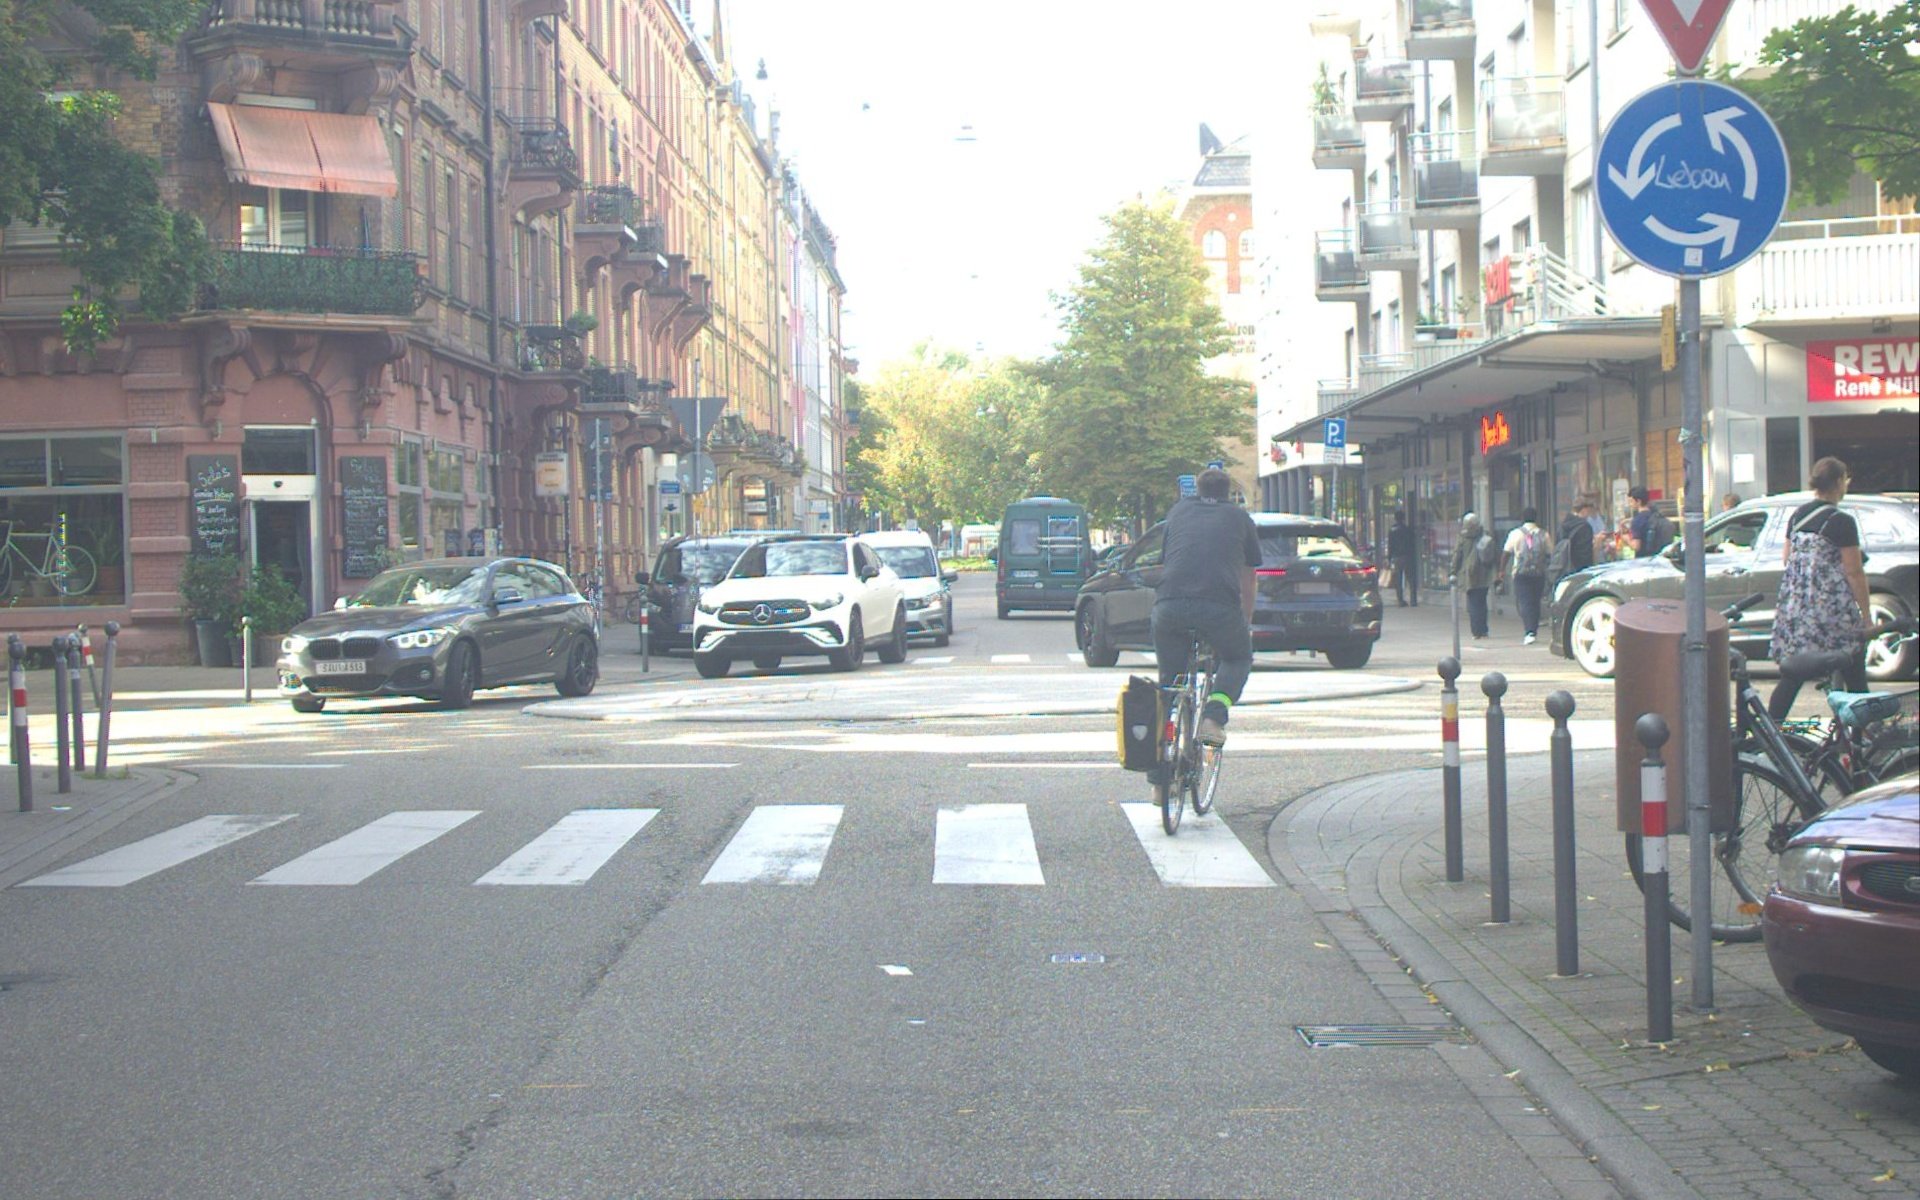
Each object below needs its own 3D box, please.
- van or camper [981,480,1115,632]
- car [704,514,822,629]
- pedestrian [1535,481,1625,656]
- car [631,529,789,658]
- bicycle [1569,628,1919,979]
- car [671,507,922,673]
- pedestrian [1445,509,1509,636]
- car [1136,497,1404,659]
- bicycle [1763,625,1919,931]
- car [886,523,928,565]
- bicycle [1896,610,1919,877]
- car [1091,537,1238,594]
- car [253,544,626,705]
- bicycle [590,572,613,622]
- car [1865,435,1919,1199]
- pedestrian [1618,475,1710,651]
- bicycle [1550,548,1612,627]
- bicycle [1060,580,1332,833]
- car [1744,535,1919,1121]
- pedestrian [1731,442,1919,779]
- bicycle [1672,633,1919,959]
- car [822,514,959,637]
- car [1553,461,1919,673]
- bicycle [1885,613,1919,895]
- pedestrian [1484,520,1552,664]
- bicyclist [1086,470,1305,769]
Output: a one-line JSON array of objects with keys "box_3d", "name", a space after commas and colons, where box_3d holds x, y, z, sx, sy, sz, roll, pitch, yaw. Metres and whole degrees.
[{"box_3d": [1.809, -0.936, 72.251, 2.531, 3.027, 4.459, -1, 1, -1], "name": "van or camper"}, {"box_3d": [-3.626, -0.548, 63.813, 1.993, 2.007, 4.000, -2, 1, -1], "name": "car"}, {"box_3d": [6.642, -0.339, 36.870, 0.869, 1.845, 0.612, -1, 1, 6], "name": "pedestrian"}, {"box_3d": [-3.692, -0.138, 51.377, 1.783, 1.718, 4.444, 0, 3, 3], "name": "car"}, {"box_3d": [2.829, 0.634, 11.232, 0.548, 1.036, 1.857, -5, 2, -28], "name": "bicycle"}, {"box_3d": [-1.916, -0.174, 41.903, 1.943, 1.716, 4.848, -2, 2, 10], "name": "car"}, {"box_3d": [6.707, -0.361, 44.584, 0.745, 1.623, 0.812, -1, 1, 12], "name": "pedestrian"}, {"box_3d": [3.294, -0.257, 37.332, 1.993, 1.612, 4.001, -2, 1, -8], "name": "car"}, {"box_3d": [3.570, 0.611, 11.722, 0.347, 1.036, 2.018, -5, 2, -26], "name": "bicycle"}, {"box_3d": [-2.628, -2.814, 171.714, 1.993, 2.007, 4.000, -1, 1, 0], "name": "car"}, {"box_3d": [4.321, 0.534, 12.684, 0.388, 1.036, 1.921, -5, 2, -28], "name": "bicycle"}, {"box_3d": [5.798, -0.985, 97.724, 3.987, 1.481, 2.000, -2, 1, -1], "name": "car"}, {"box_3d": [-4.895, 0.210, 32.942, 1.751, 1.431, 4.207, 0, 0, 20], "name": "car"}, {"box_3d": [-6.962, -0.071, 66.805, 0.360, 0.944, 1.716, -1, 1, -4], "name": "bicycle"}, {"box_3d": [4.092, 0.373, 6.567, 4.340, 1.639, 1.822, -4, 2, -25], "name": "car"}, {"box_3d": [7.523, -0.392, 36.738, 0.869, 1.845, 0.612, -1, 1, 6], "name": "pedestrian"}, {"box_3d": [8.124, -0.173, 45.008, 0.362, 1.013, 1.431, -1, 1, -7], "name": "bicycle"}, {"box_3d": [1.246, 0.497, 17.553, 0.666, 1.174, 2.494, 0, 1, 21], "name": "bicycle"}, {"box_3d": [4.238, 0.517, 9.201, 3.931, 1.452, 1.770, -2, 1, -27], "name": "car"}, {"box_3d": [4.748, 0.046, 18.669, 0.783, 1.773, 0.791, -1, 1, 39], "name": "pedestrian"}, {"box_3d": [3.218, 0.647, 11.551, 0.459, 1.036, 1.857, -5, 2, -28], "name": "bicycle"}, {"box_3d": [-1.039, -0.409, 54.059, 1.793, 1.784, 4.735, -3, 1, 2], "name": "car"}, {"box_3d": [7.792, -0.317, 30.158, 2.037, 1.718, 4.843, -5, 3, -41], "name": "car"}, {"box_3d": [4.137, 0.548, 12.112, 0.443, 1.036, 1.906, -5, 2, -28], "name": "bicycle"}, {"box_3d": [6.733, -0.105, 41.437, 0.741, 1.706, 0.733, -1, 1, 12], "name": "pedestrian"}, {"box_3d": [1.204, 0.089, 17.511, 0.934, 1.478, 0.746, 0, 1, 22], "name": "bicyclist"}]
